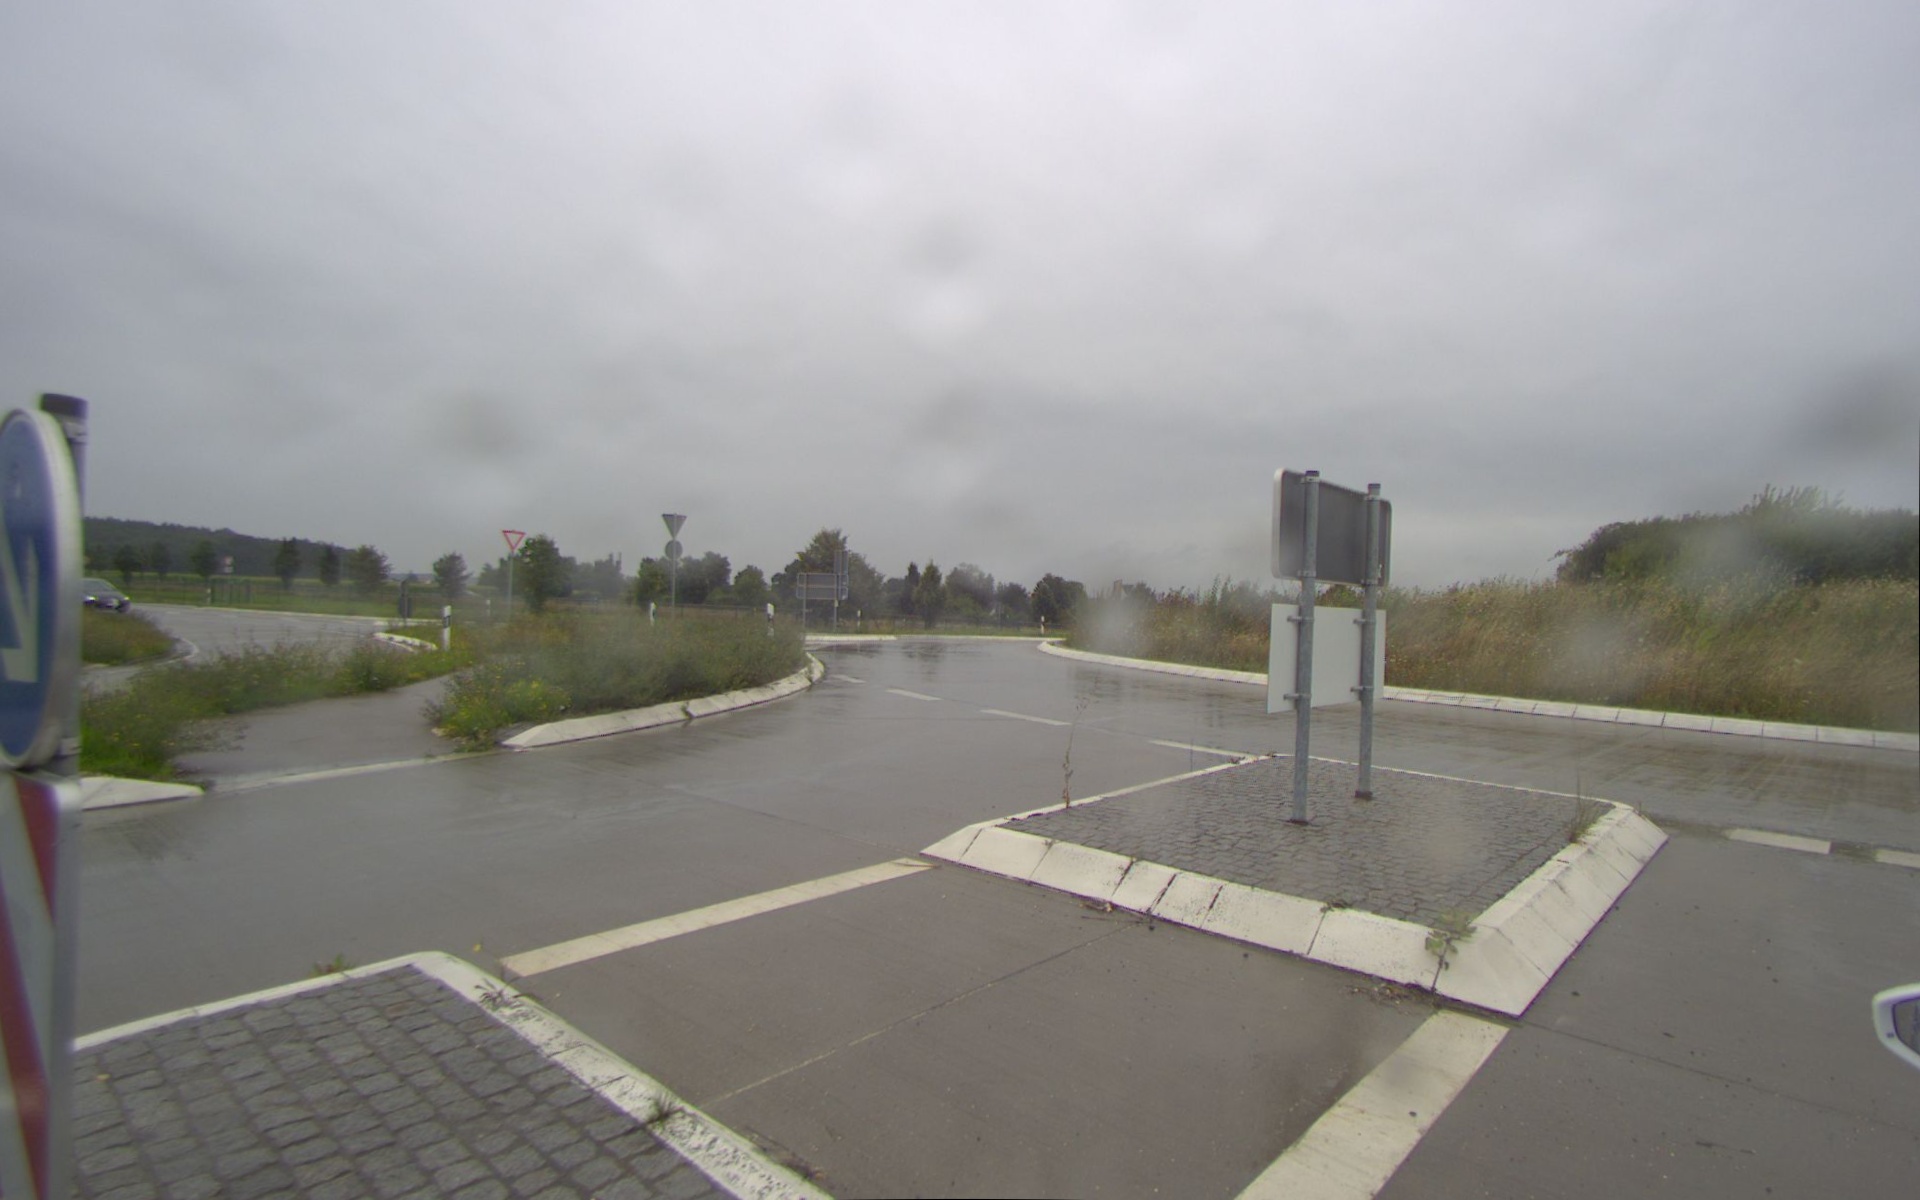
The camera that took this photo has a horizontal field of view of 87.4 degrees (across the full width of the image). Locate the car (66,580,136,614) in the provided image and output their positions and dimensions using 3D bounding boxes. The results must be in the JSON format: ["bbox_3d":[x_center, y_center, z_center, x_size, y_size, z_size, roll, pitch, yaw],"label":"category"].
[{"bbox_3d":[-42.011,-0.155,49.121,3.692,1.472,1.583,2,-1,33],"label":"car"}]
